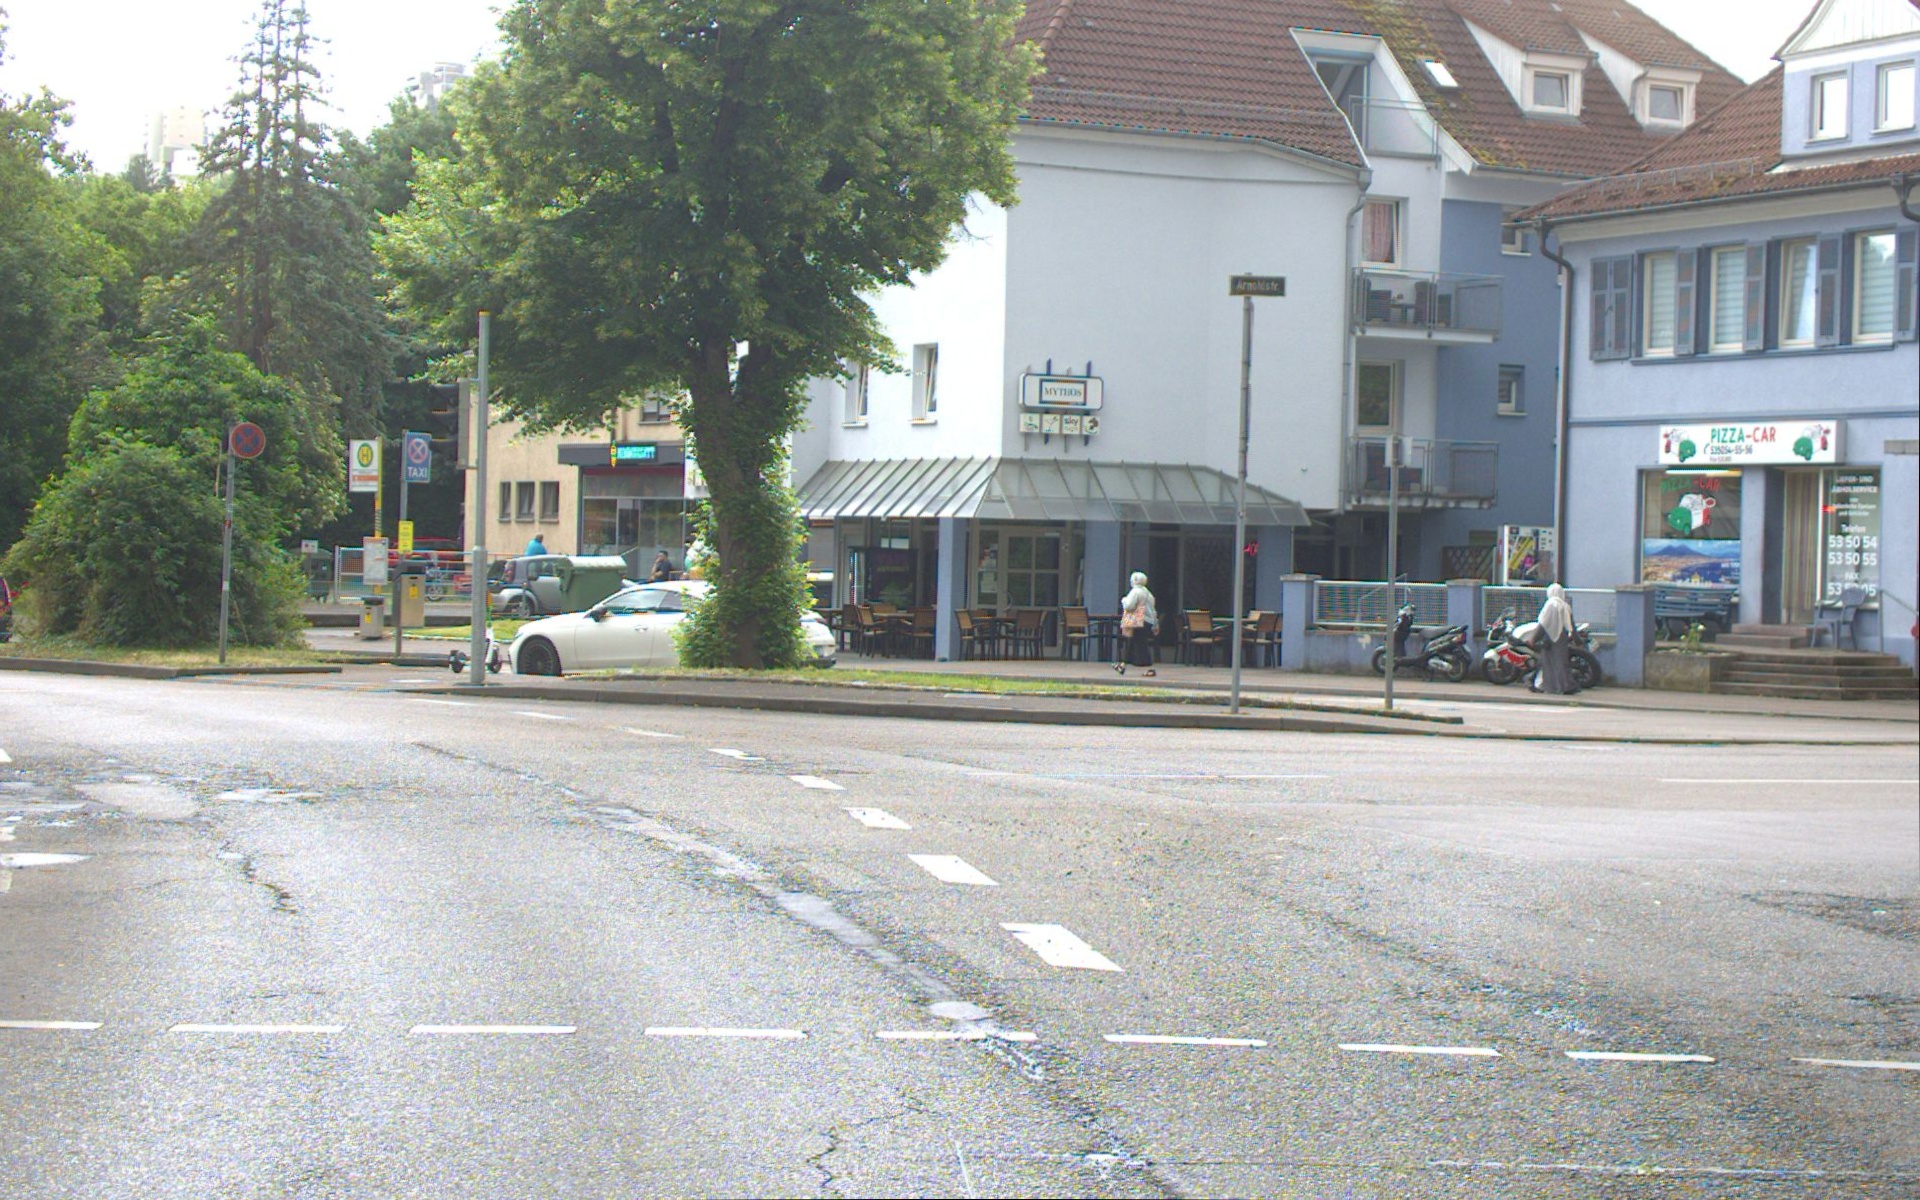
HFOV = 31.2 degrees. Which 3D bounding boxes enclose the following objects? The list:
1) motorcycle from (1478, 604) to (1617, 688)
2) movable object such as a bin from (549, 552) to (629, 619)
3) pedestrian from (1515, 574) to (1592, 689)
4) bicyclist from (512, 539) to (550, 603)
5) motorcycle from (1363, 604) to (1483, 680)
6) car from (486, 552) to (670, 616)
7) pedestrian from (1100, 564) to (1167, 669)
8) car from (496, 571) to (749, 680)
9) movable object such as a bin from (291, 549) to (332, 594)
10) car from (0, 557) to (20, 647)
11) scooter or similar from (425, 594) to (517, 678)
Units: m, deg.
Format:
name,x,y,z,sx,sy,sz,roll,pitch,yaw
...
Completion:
name,x,y,z,sx,sy,sz,roll,pitch,yaw
motorcycle,8.257,0.639,48.377,1.798,1.118,0.693,2,1,38
movable object such as a bin,-7.985,-0.315,73.970,1.440,1.404,0.967,1,1,-27
pedestrian,8.090,0.426,46.879,0.768,1.539,0.677,1,1,39
bicyclist,-10.410,-0.694,83.478,0.599,1.536,0.739,1,1,25
motorcycle,6.751,0.601,50.156,1.636,1.060,0.693,2,1,44
car,-8.428,-0.357,75.867,3.733,1.340,1.434,1,1,-26
pedestrian,2.580,0.244,51.221,0.707,1.539,0.677,2,1,40
car,-4.531,0.321,46.039,3.171,1.350,1.436,2,1,35
movable object such as a bin,-16.249,-0.721,86.163,0.950,1.111,0.383,1,1,-21
car,-16.514,-0.007,53.717,3.590,1.389,1.469,2,1,32
scooter or similar,-6.059,0.436,42.645,0.417,1.008,1.565,1,1,20
